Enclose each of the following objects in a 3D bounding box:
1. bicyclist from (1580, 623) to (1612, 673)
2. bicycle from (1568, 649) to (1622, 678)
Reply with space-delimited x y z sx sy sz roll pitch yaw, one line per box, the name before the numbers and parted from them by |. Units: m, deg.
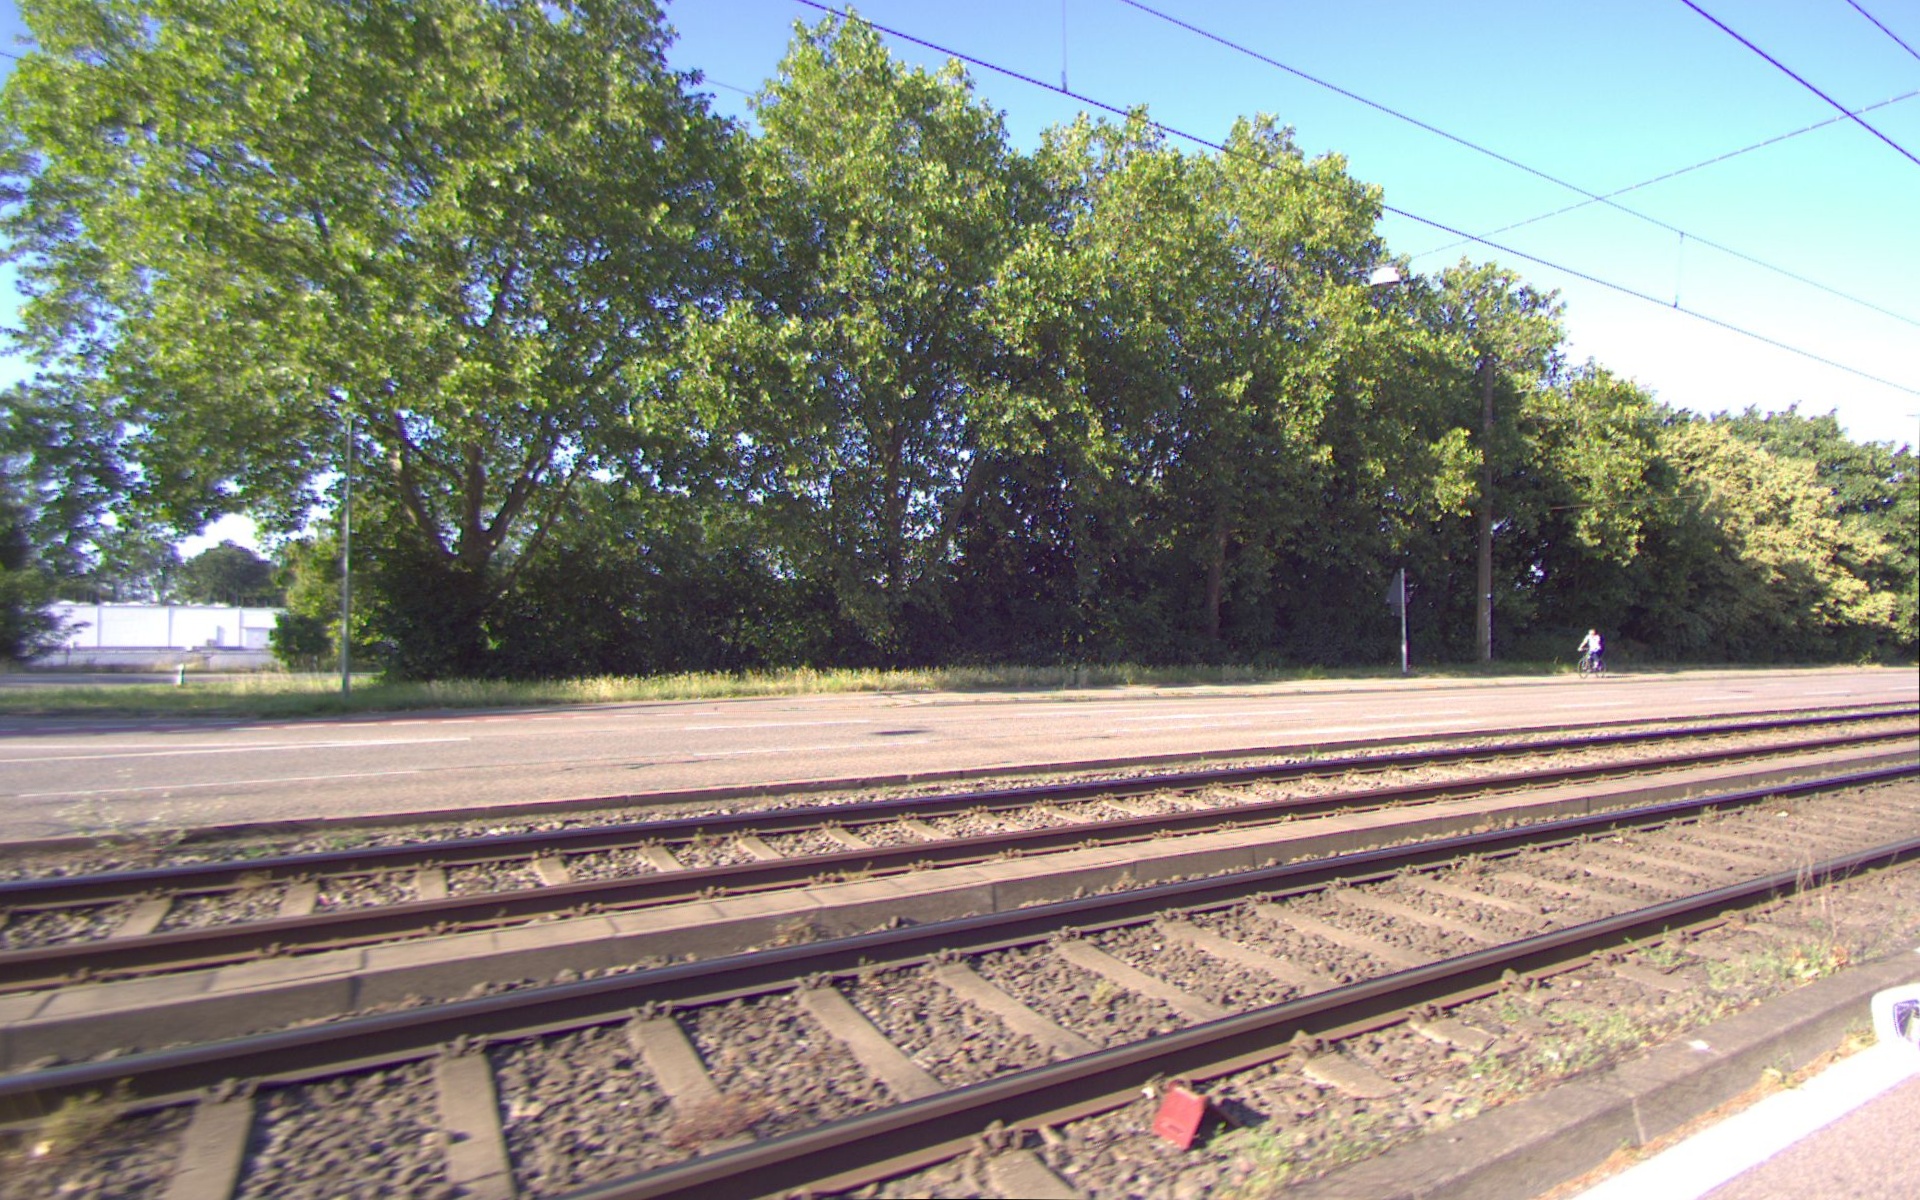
bicyclist | 22.498 1.692 35.532 0.809 1.713 0.548 2 1 -26
bicycle | 22.592 2.253 35.715 2.209 0.999 0.548 2 0 -26
